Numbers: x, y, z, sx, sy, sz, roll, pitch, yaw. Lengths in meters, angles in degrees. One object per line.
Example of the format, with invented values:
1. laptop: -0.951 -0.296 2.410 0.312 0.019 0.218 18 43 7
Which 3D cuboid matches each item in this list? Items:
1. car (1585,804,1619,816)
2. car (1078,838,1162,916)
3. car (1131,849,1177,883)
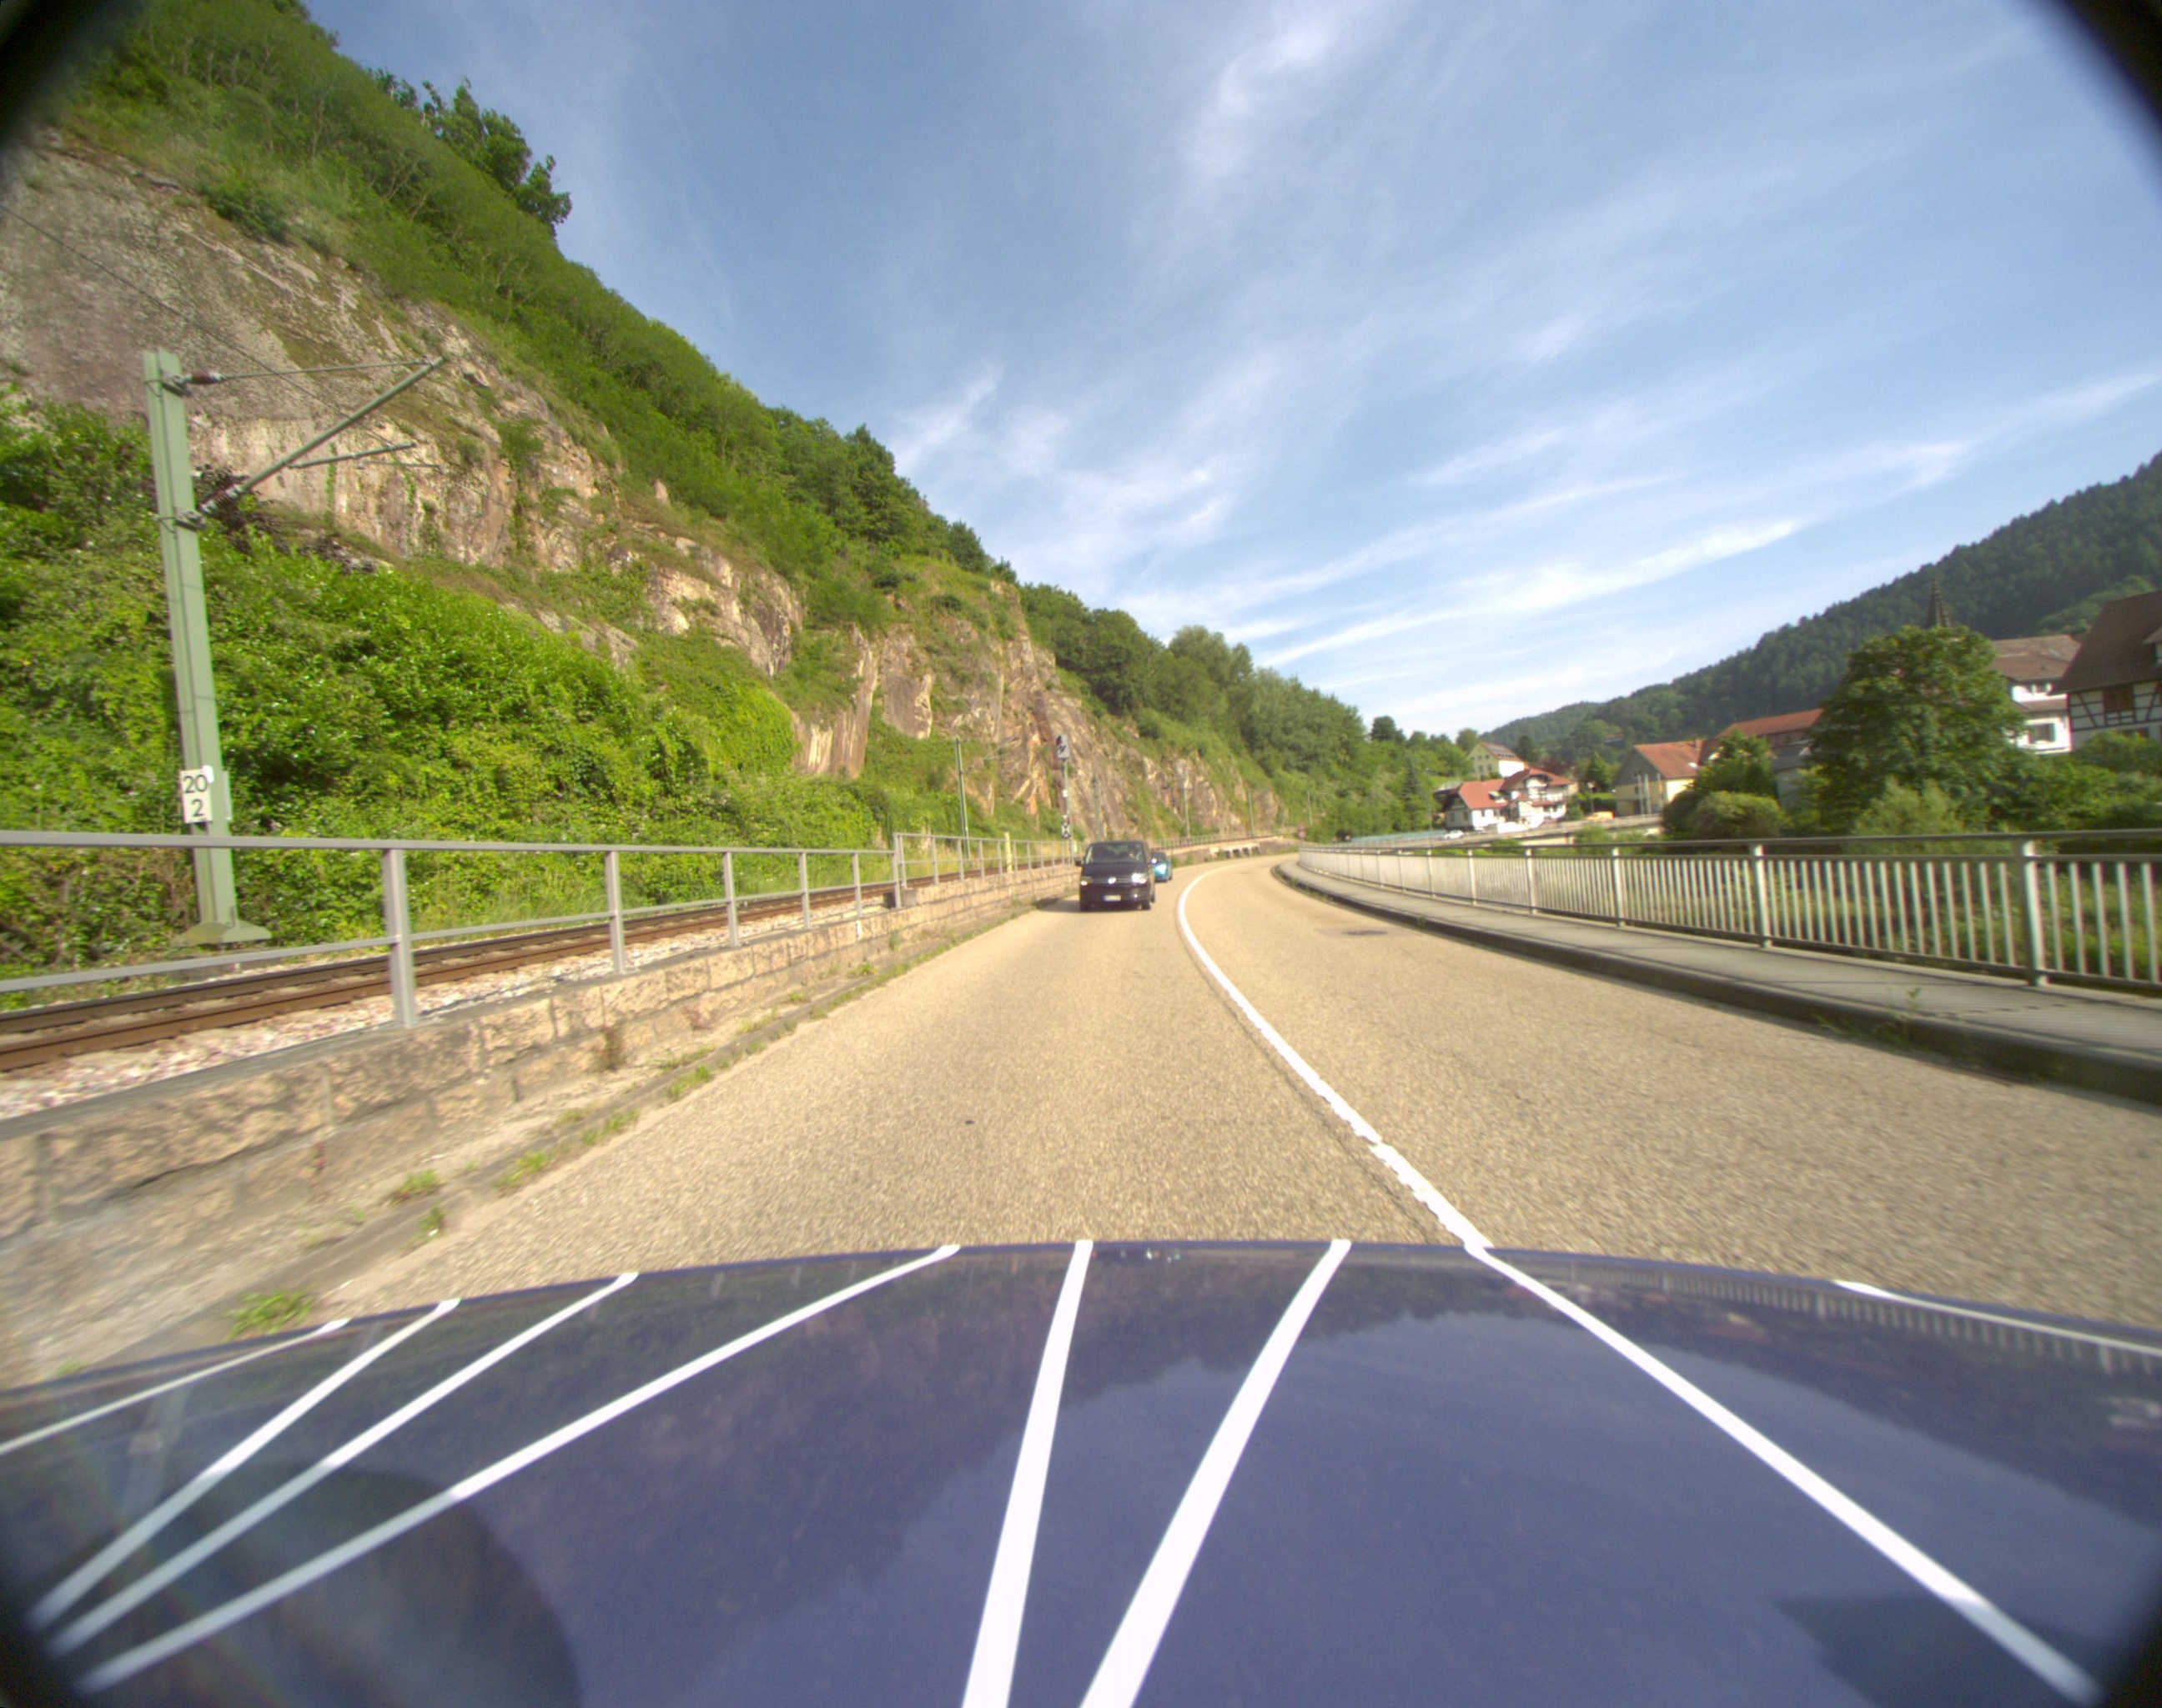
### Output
1. car: 93.342 -7.813 136.103 4.833 1.986 1.913 -1 1 -4
2. car: 1.250 0.584 21.974 1.886 1.952 4.869 -2 0 9
3. car: 3.750 0.567 38.475 1.681 1.513 3.869 -3 0 14
